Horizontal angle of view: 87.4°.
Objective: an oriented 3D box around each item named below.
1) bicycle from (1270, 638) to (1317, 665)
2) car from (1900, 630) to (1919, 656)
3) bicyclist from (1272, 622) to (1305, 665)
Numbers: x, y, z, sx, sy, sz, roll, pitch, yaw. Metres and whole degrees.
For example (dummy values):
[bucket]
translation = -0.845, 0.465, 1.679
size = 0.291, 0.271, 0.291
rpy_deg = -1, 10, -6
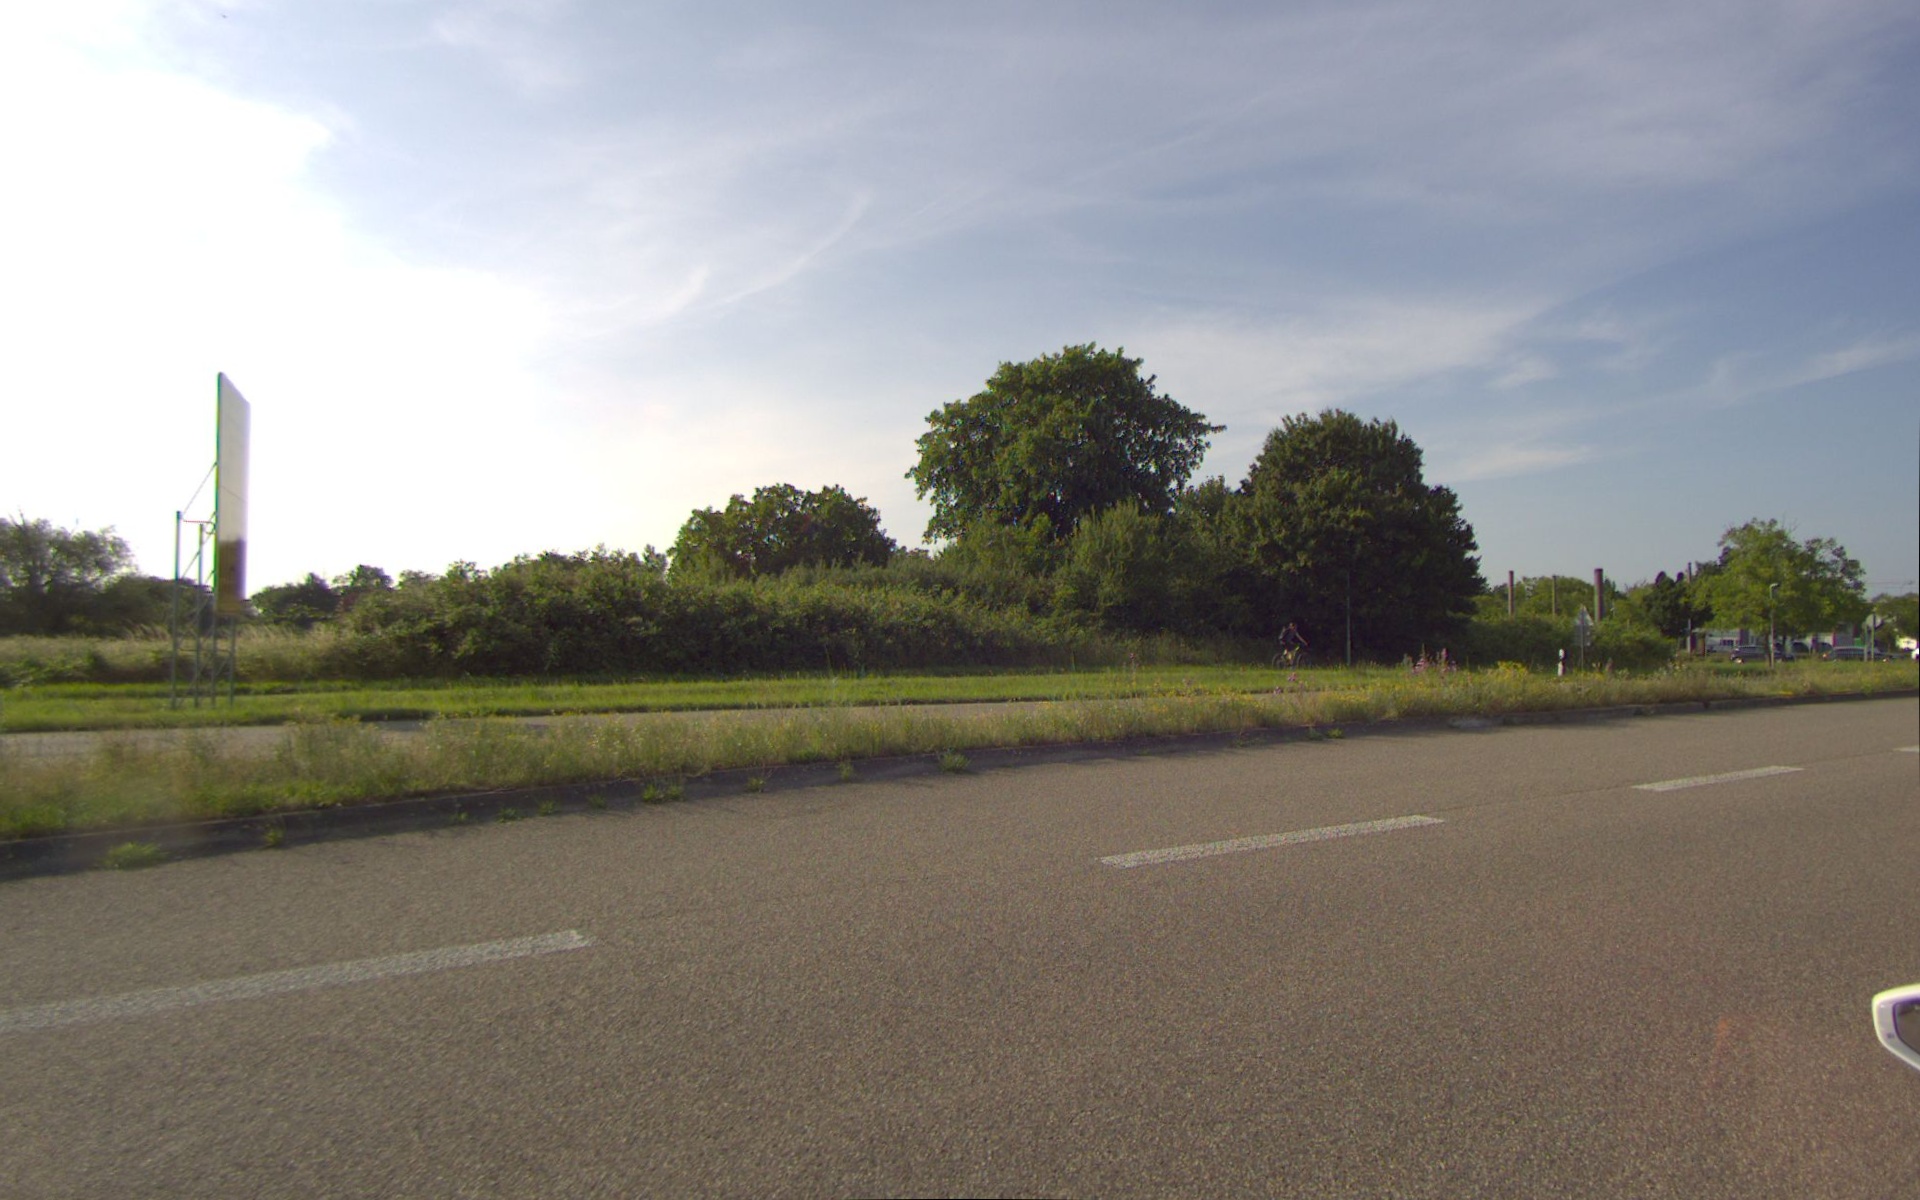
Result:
[bicycle]
translation = 11.267, 1.725, 33.962
size = 1.684, 0.890, 0.527
rpy_deg = 1, -1, -30
[car]
translation = 64.977, 2.944, 66.204
size = 1.857, 1.684, 3.984
rpy_deg = 3, -1, -18
[bicyclist]
translation = 11.079, 1.459, 33.875
size = 1.035, 1.408, 0.464
rpy_deg = 1, -1, -30
